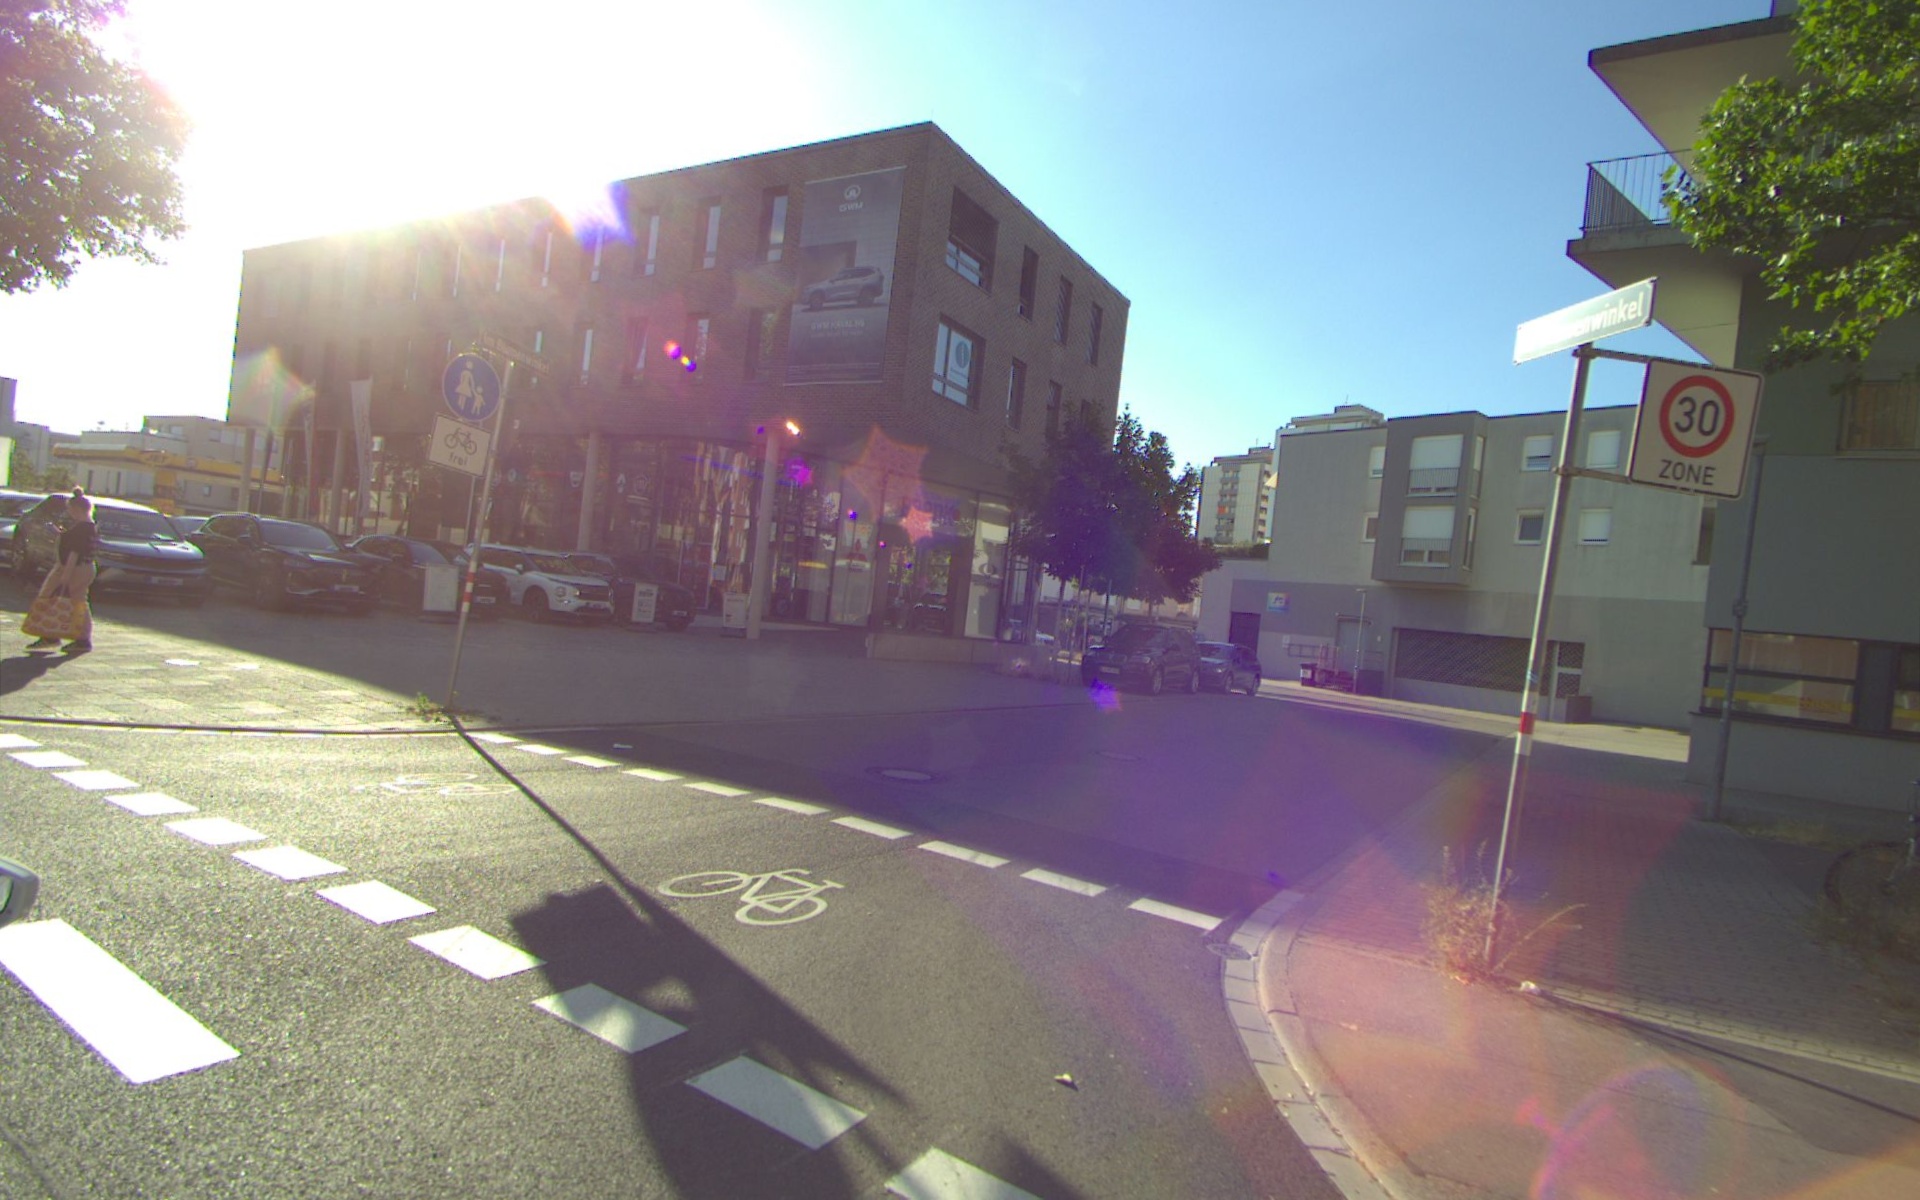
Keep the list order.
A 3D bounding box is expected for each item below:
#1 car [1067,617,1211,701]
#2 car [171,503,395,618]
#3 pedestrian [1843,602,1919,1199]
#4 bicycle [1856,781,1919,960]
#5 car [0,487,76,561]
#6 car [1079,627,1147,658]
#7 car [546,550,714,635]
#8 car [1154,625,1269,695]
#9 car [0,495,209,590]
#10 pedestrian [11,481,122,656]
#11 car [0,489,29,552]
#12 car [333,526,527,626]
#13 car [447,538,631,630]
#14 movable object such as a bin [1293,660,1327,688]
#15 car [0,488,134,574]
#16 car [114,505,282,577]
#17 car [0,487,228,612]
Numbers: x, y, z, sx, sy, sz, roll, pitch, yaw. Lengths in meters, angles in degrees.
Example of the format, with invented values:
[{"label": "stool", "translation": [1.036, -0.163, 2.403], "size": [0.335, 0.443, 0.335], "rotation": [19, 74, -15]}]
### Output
[{"label": "car", "translation": [4.570, 1.448, 25.110], "size": [1.996, 1.683, 4.488], "rotation": [7, 1, 29]}, {"label": "car", "translation": [-13.240, -0.792, 19.626], "size": [4.294, 1.753, 1.828], "rotation": [6, 0, 30]}, {"label": "pedestrian", "translation": [2.135, 0.856, 1.645], "size": [0.651, 1.785, 0.770], "rotation": [6, 2, 9]}, {"label": "bicycle", "translation": [6.485, 1.743, 6.103], "size": [1.458, 1.016, 0.384], "rotation": [6, 1, 16]}, {"label": "car", "translation": [-22.474, -1.823, 22.744], "size": [1.710, 1.598, 3.815], "rotation": [6, 1, -5]}, {"label": "car", "translation": [9.953, 2.783, 65.784], "size": [3.949, 1.641, 1.859], "rotation": [4, -2, 44]}, {"label": "car", "translation": [-8.777, -0.210, 26.678], "size": [4.112, 1.755, 1.987], "rotation": [6, 0, 33]}, {"label": "car", "translation": [7.471, 1.750, 29.558], "size": [1.996, 1.683, 4.488], "rotation": [7, 1, 30]}, {"label": "car", "translation": [-17.544, -1.107, 20.438], "size": [1.632, 1.564, 3.818], "rotation": [6, 0, -1]}, {"label": "pedestrian", "translation": [-9.483, -0.327, 10.707], "size": [0.687, 1.744, 0.714], "rotation": [6, 1, -36]}, {"label": "car", "translation": [-25.557, -2.136, 24.840], "size": [1.715, 1.598, 3.815], "rotation": [6, 1, -5]}, {"label": "car", "translation": [-11.690, -0.539, 22.137], "size": [4.109, 1.705, 1.729], "rotation": [6, 0, 30]}, {"label": "car", "translation": [-10.219, -0.397, 24.382], "size": [4.109, 1.755, 1.878], "rotation": [6, 0, 30]}, {"label": "movable object such as a bin", "translation": [15.701, 3.308, 45.106], "size": [0.979, 1.086, 0.912], "rotation": [6, 2, -36]}, {"label": "car", "translation": [-19.912, -1.494, 21.312], "size": [1.710, 1.630, 3.816], "rotation": [6, 1, -3]}, {"label": "car", "translation": [-20.080, -1.498, 26.723], "size": [1.613, 1.530, 3.816], "rotation": [6, 0, -3]}, {"label": "car", "translation": [-14.597, -0.887, 17.288], "size": [4.089, 1.690, 1.754], "rotation": [6, 0, 32]}]
